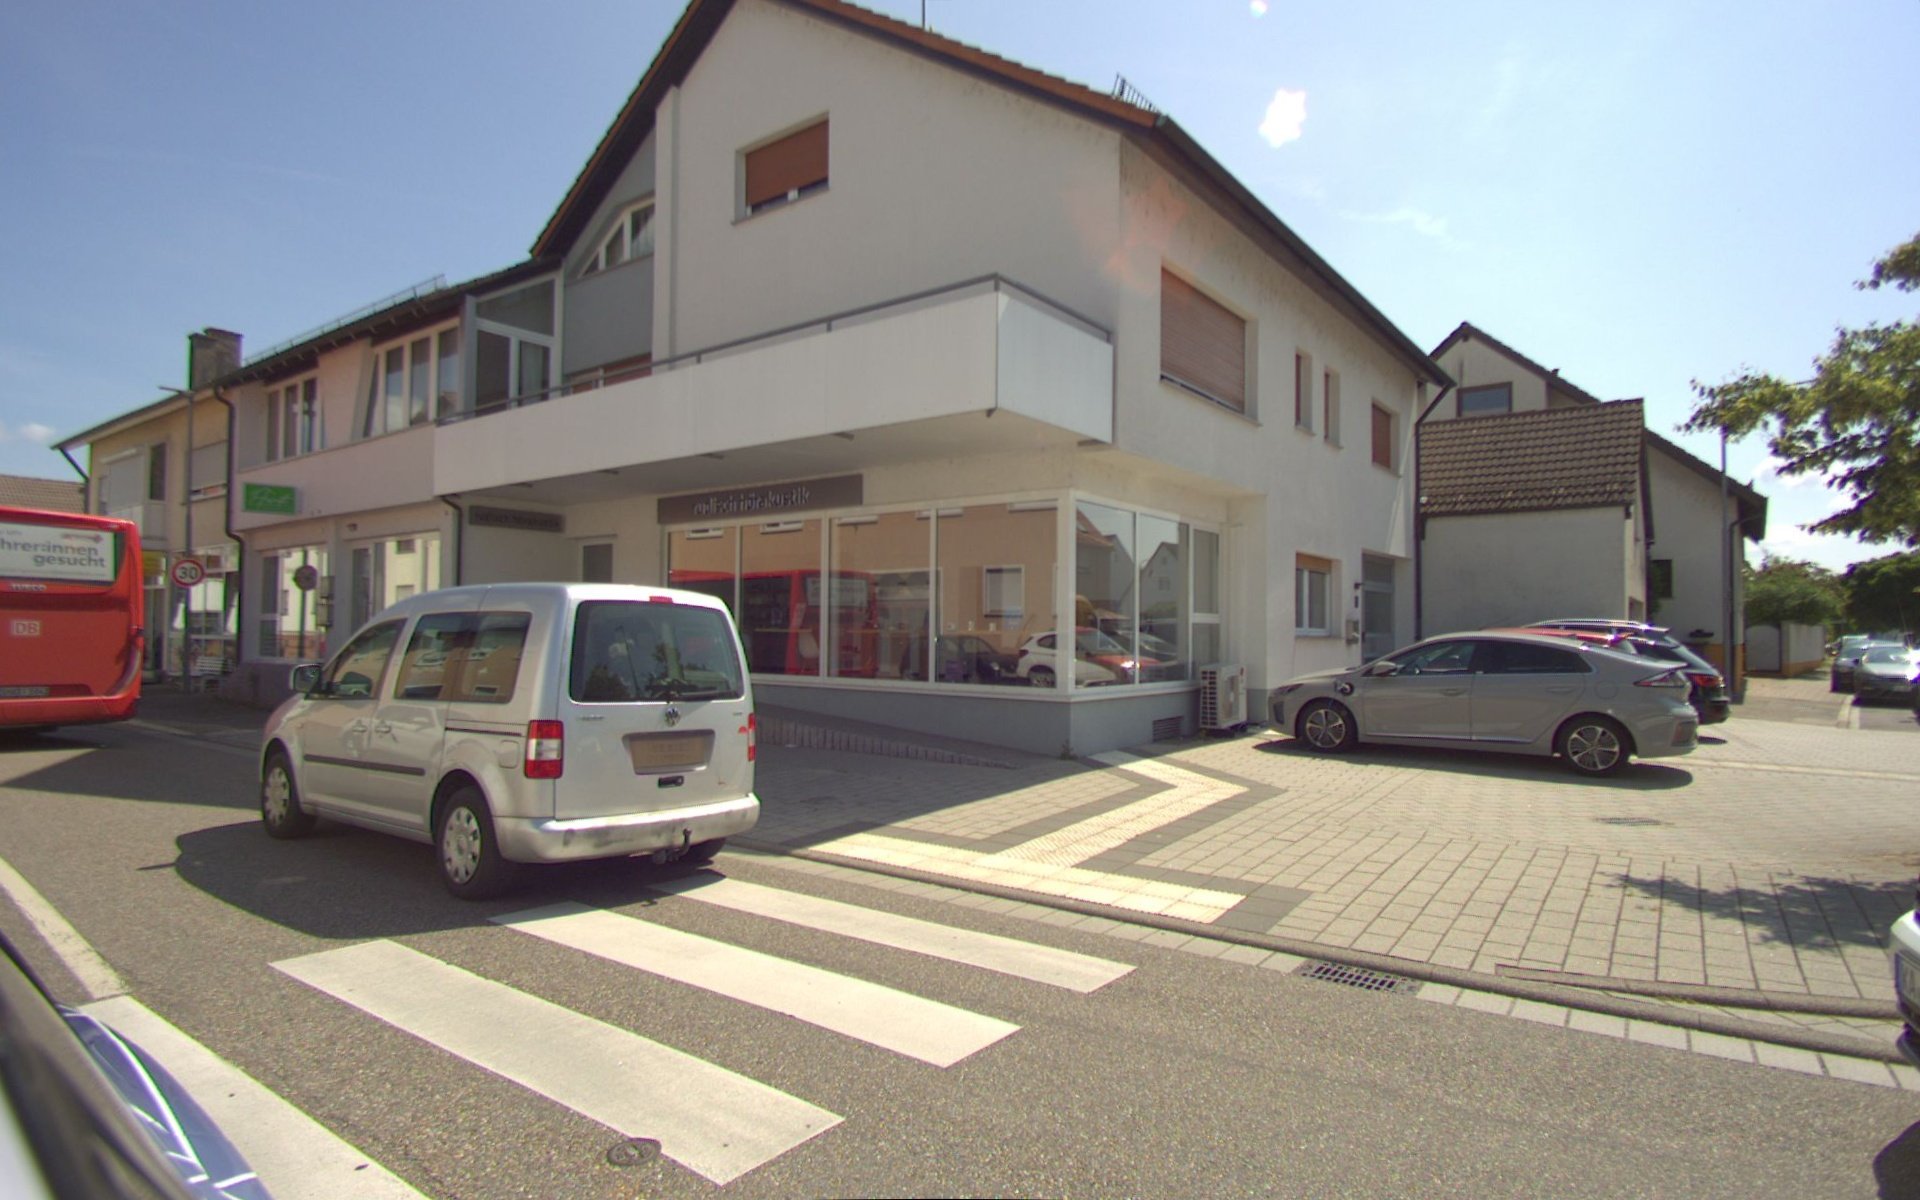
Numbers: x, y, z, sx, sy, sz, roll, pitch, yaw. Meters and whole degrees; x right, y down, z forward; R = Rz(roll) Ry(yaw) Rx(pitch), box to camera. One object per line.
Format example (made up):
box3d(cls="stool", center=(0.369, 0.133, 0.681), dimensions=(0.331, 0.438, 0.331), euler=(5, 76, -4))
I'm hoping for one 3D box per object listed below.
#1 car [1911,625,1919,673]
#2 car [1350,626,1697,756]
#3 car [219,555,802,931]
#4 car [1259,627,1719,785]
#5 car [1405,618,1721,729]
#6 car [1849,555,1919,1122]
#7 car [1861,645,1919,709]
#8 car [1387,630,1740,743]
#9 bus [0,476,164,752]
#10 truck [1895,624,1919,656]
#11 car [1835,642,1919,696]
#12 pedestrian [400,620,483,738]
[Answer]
box3d(cls="car", center=(39.451, 1.916, 39.911), dimensions=(3.906, 1.847, 1.879), euler=(0, -1, -32))
box3d(cls="car", center=(7.607, 1.128, 13.840), dimensions=(3.956, 1.488, 1.731), euler=(0, -2, 36))
box3d(cls="car", center=(-3.295, 0.783, 7.028), dimensions=(4.435, 1.835, 1.755), euler=(-1, -4, 38))
box3d(cls="car", center=(5.960, 1.068, 11.720), dimensions=(4.470, 1.462, 1.813), euler=(0, -2, 36))
box3d(cls="car", center=(10.848, 1.227, 18.435), dimensions=(4.740, 1.753, 1.963), euler=(0, -2, 36))
box3d(cls="car", center=(4.755, 0.674, 1.670), dimensions=(4.516, 1.723, 1.856), euler=(-1, -4, 25))
box3d(cls="car", center=(21.986, 1.731, 23.309), dimensions=(1.786, 1.254, 3.917), euler=(-1, -1, 42))
box3d(cls="car", center=(9.174, 1.226, 15.641), dimensions=(4.470, 1.462, 1.813), euler=(0, -2, 36))
box3d(cls="bus", center=(-16.409, 0.236, 15.148), dimensions=(11.973, 3.257, 2.608), euler=(-1, -4, 30))
box3d(cls="truck", center=(76.039, 3.140, 79.764), dimensions=(2.240, 2.470, 5.805), euler=(-1, -2, 32))
box3d(cls="car", center=(25.408, 1.849, 27.929), dimensions=(1.786, 1.254, 3.917), euler=(-1, -1, 42))
box3d(cls="pedestrian", center=(-7.459, 1.103, 14.560), dimensions=(0.955, 1.595, 0.748), euler=(-1, 0, 38))
